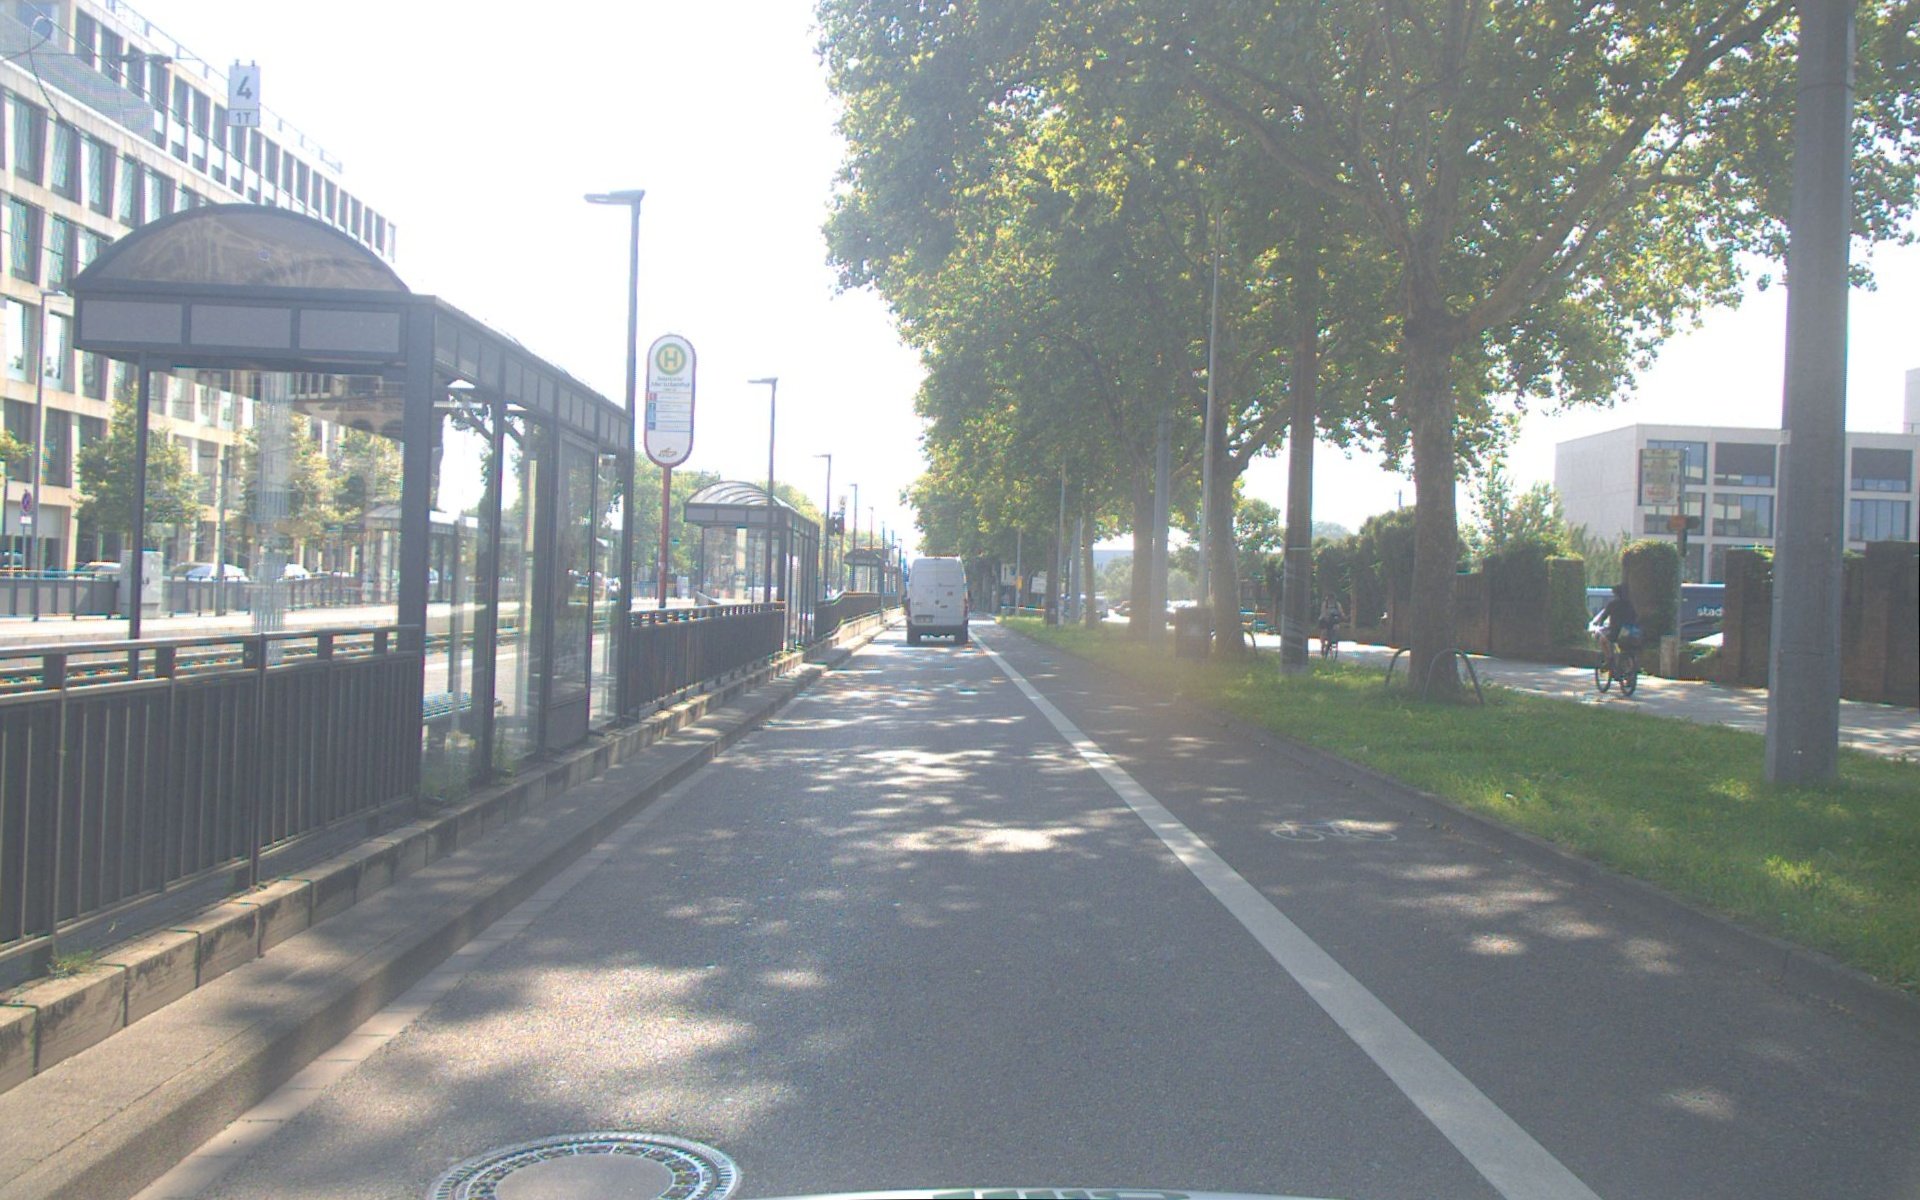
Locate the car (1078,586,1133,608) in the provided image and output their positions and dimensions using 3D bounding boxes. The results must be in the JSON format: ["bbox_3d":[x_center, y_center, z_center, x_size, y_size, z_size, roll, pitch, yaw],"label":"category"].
[{"bbox_3d":[11.115,-0.201,126.382,3.907,1.400,1.999,3,-1,-2],"label":"car"}]

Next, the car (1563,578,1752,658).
[{"bbox_3d":[17.830,0.444,42.355,4.188,1.925,1.560,1,0,-4],"label":"car"}]

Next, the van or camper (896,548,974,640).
[{"bbox_3d":[-0.869,-0.189,53.130,2.074,2.728,5.245,2,0,-5],"label":"van or camper"}]

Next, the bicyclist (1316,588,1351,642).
[{"bbox_3d":[9.187,0.362,40.656,0.656,1.298,0.728,1,0,-2],"label":"bicyclist"}]

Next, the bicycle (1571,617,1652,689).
[{"bbox_3d":[10.894,0.871,27.696,0.481,1.108,1.856,2,0,-4],"label":"bicycle"}]

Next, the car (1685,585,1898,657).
[{"bbox_3d":[18.045,0.444,35.979,3.908,1.428,1.503,1,0,-4],"label":"car"}]

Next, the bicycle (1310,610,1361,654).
[{"bbox_3d":[9.180,0.773,40.548,0.668,1.022,2.217,1,0,-2],"label":"bicycle"}]

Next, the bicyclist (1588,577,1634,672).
[{"bbox_3d":[10.904,0.402,27.698,0.460,1.566,0.596,2,0,-4],"label":"bicyclist"}]

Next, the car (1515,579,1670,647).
[{"bbox_3d":[18.564,0.369,48.620,3.922,1.875,1.560,1,0,-4],"label":"car"}]

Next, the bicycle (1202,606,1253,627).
[{"bbox_3d":[11.856,0.735,73.300,2.135,0.861,0.503,1,0,-1],"label":"bicycle"}]
